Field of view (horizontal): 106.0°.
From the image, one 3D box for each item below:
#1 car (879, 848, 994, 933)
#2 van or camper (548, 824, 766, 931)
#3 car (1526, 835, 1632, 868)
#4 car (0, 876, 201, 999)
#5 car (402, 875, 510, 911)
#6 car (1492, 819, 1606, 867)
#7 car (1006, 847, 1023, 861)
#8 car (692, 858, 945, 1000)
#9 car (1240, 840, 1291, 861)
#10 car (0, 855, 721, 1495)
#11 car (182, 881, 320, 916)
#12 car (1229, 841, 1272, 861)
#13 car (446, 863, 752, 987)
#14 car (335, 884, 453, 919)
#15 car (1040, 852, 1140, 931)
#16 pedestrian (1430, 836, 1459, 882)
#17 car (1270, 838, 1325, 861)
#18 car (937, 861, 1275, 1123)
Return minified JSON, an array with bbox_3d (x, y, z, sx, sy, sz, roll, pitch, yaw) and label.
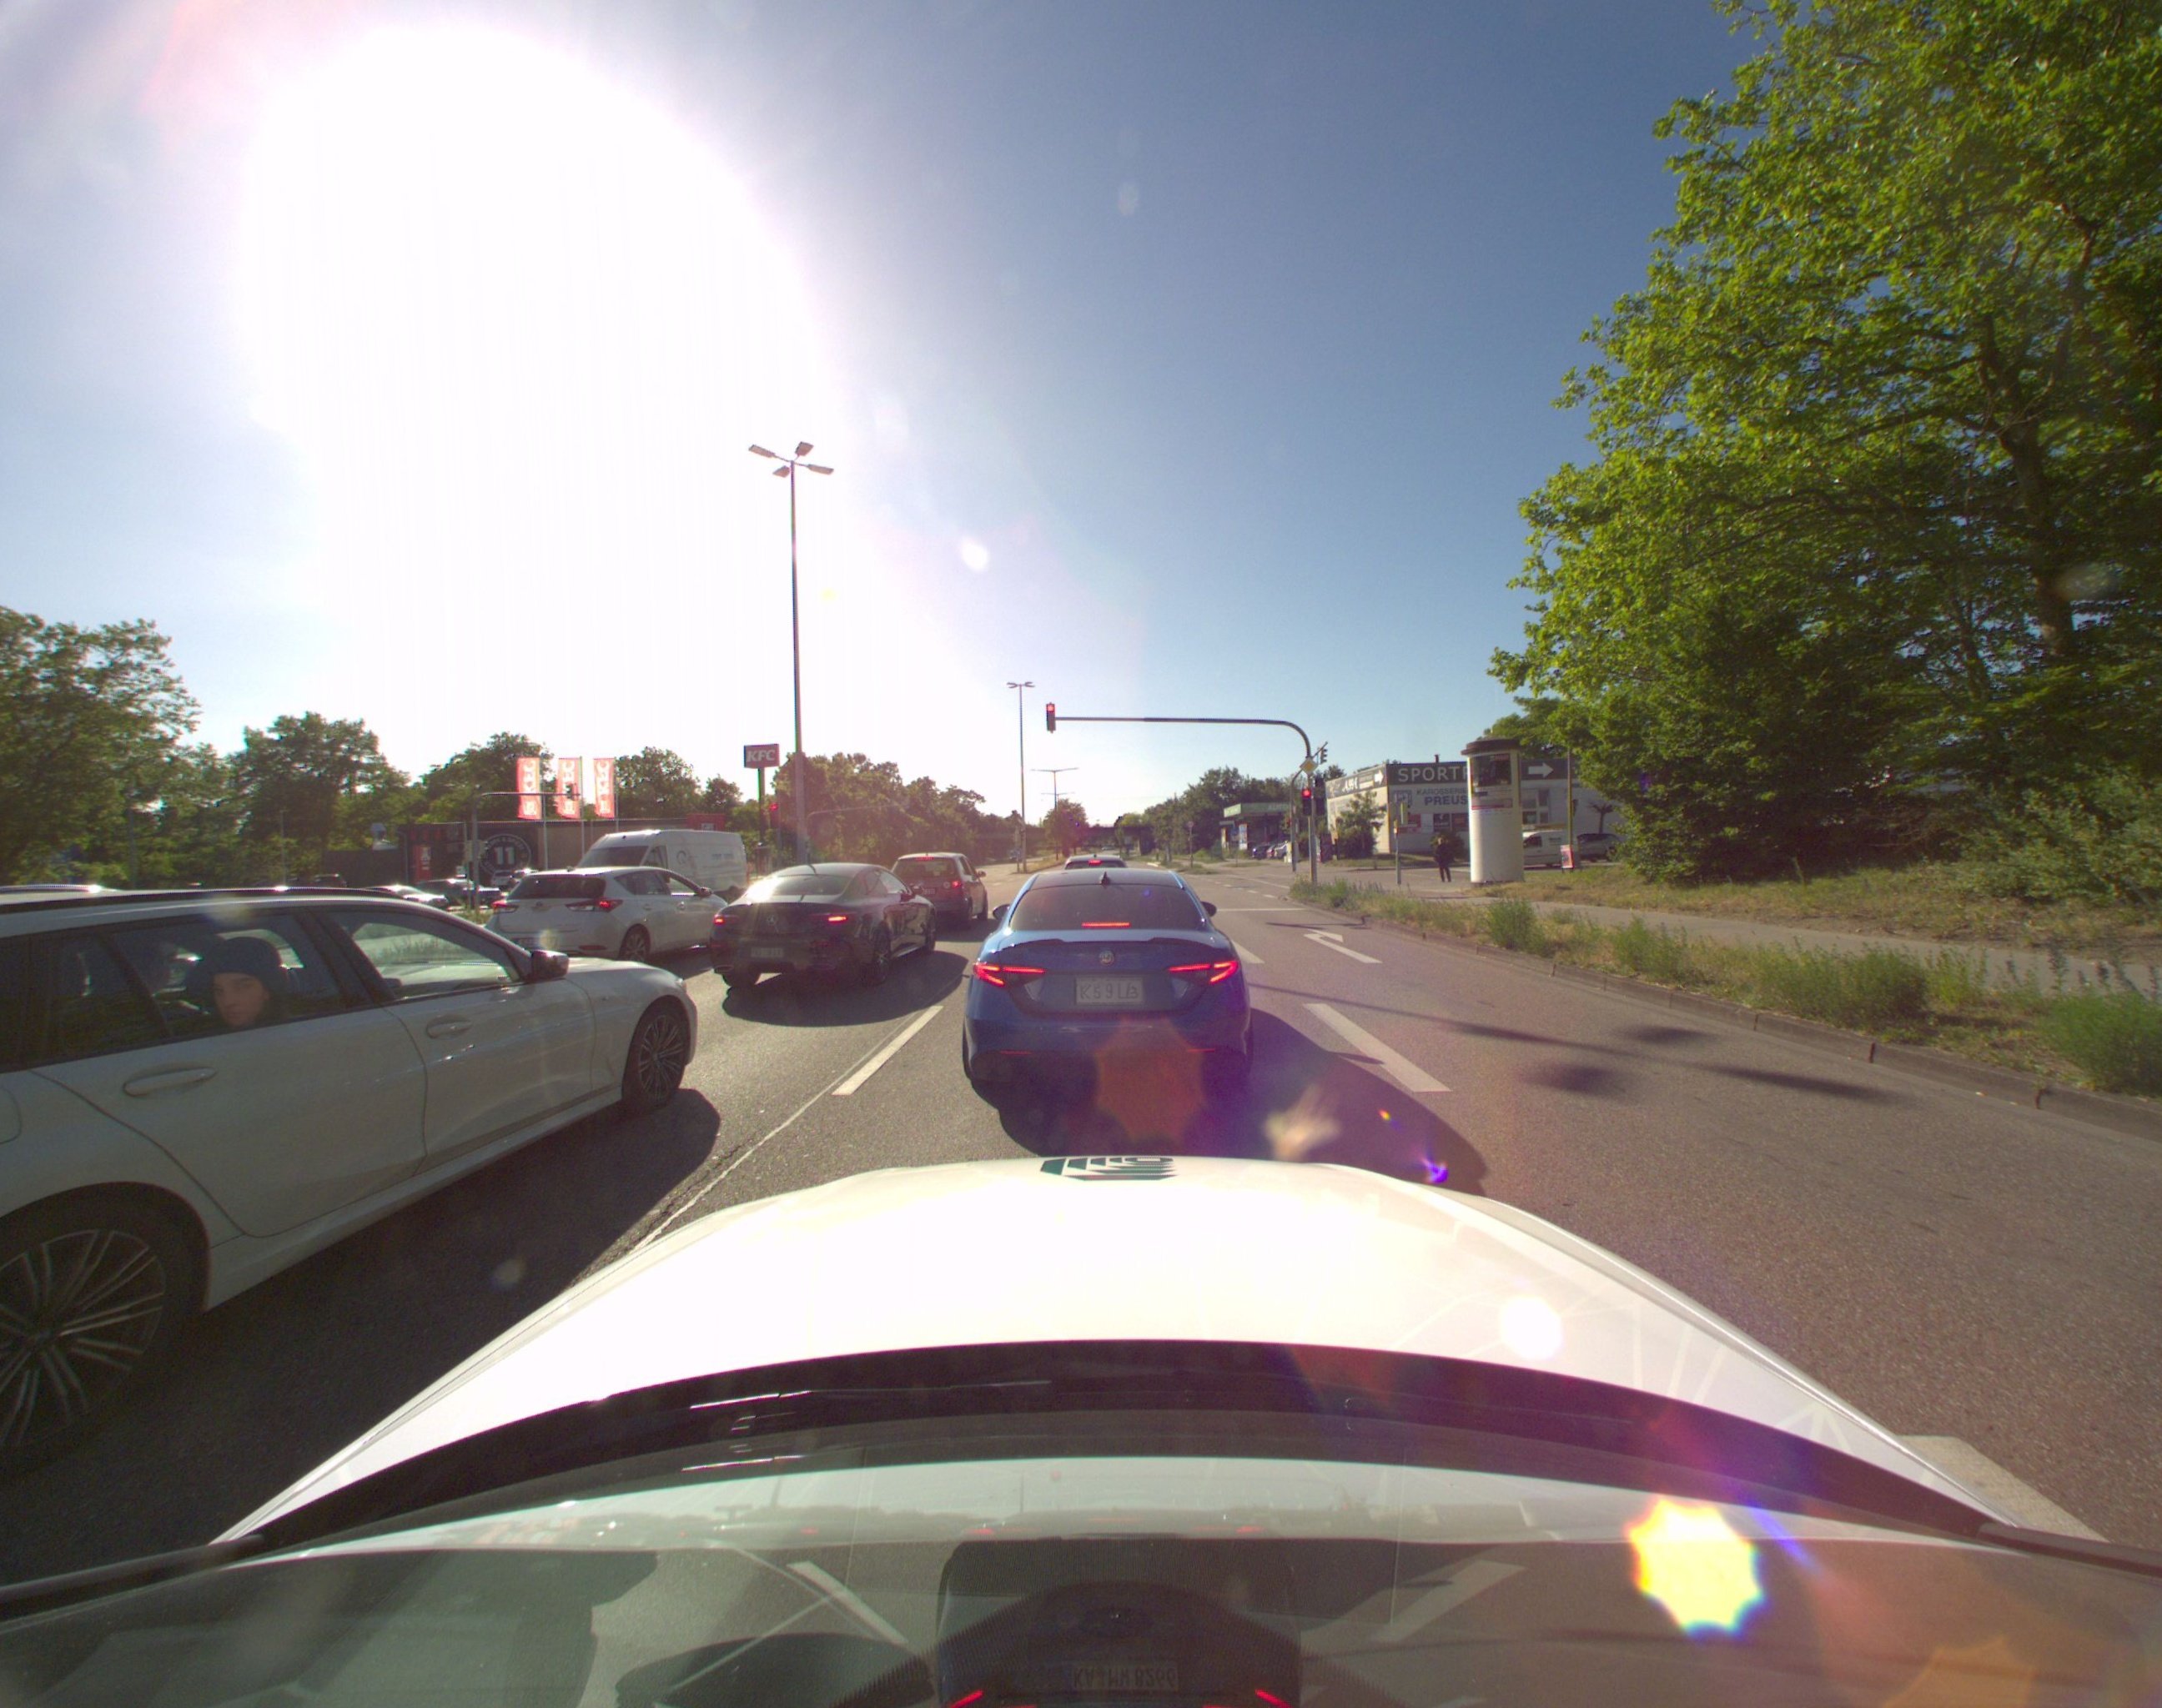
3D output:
[{"bbox_3d":[-3.009,0.696,17.721,1.642,1.598,3.933,-1,0,2],"label":"car"},{"bbox_3d":[-11.946,0.585,23.797,2.167,2.572,6.764,-3,0,6],"label":"van or camper"},{"bbox_3d":[26.089,-0.132,42.743,4.393,1.553,1.999,-1,0,-2],"label":"car"},{"bbox_3d":[-16.149,1.233,11.681,1.987,1.653,4.613,-1,0,0],"label":"car"},{"bbox_3d":[-31.924,1.977,41.691,4.025,1.595,1.824,-1,0,-1],"label":"car"},{"bbox_3d":[22.630,-0.513,39.462,4.393,2.145,1.999,-1,0,-2],"label":"car"},{"bbox_3d":[-11.997,-0.035,147.777,2.423,2.427,5.831,-2,0,0],"label":"car"},{"bbox_3d":[-3.146,0.809,10.830,1.762,1.414,4.463,-1,0,2],"label":"car"},{"bbox_3d":[16.041,-0.282,70.756,3.997,1.706,1.685,-1,0,-18],"label":"car"},{"bbox_3d":[-3.433,0.792,3.358,1.762,1.509,4.463,-1,0,2],"label":"car"},{"bbox_3d":[-39.250,2.069,38.577,4.701,1.429,1.865,-1,1,2],"label":"car"},{"bbox_3d":[15.384,-0.245,73.965,3.489,1.706,1.687,-1,0,-14],"label":"car"},{"bbox_3d":[-6.852,0.908,12.276,1.850,1.429,4.405,-1,0,2],"label":"car"},{"bbox_3d":[-32.128,2.226,38.168,4.019,1.429,1.826,-1,0,3],"label":"car"},{"bbox_3d":[0.229,0.699,17.194,1.859,1.450,3.933,-1,0,2],"label":"car"},{"bbox_3d":[14.160,0.187,31.730,0.818,1.721,0.856,-1,0,9],"label":"pedestrian"},{"bbox_3d":[17.511,-0.351,65.862,3.993,1.706,1.687,-1,0,-15],"label":"car"},{"bbox_3d":[0.198,0.784,6.496,1.859,1.385,3.933,-1,0,2],"label":"car"}]
